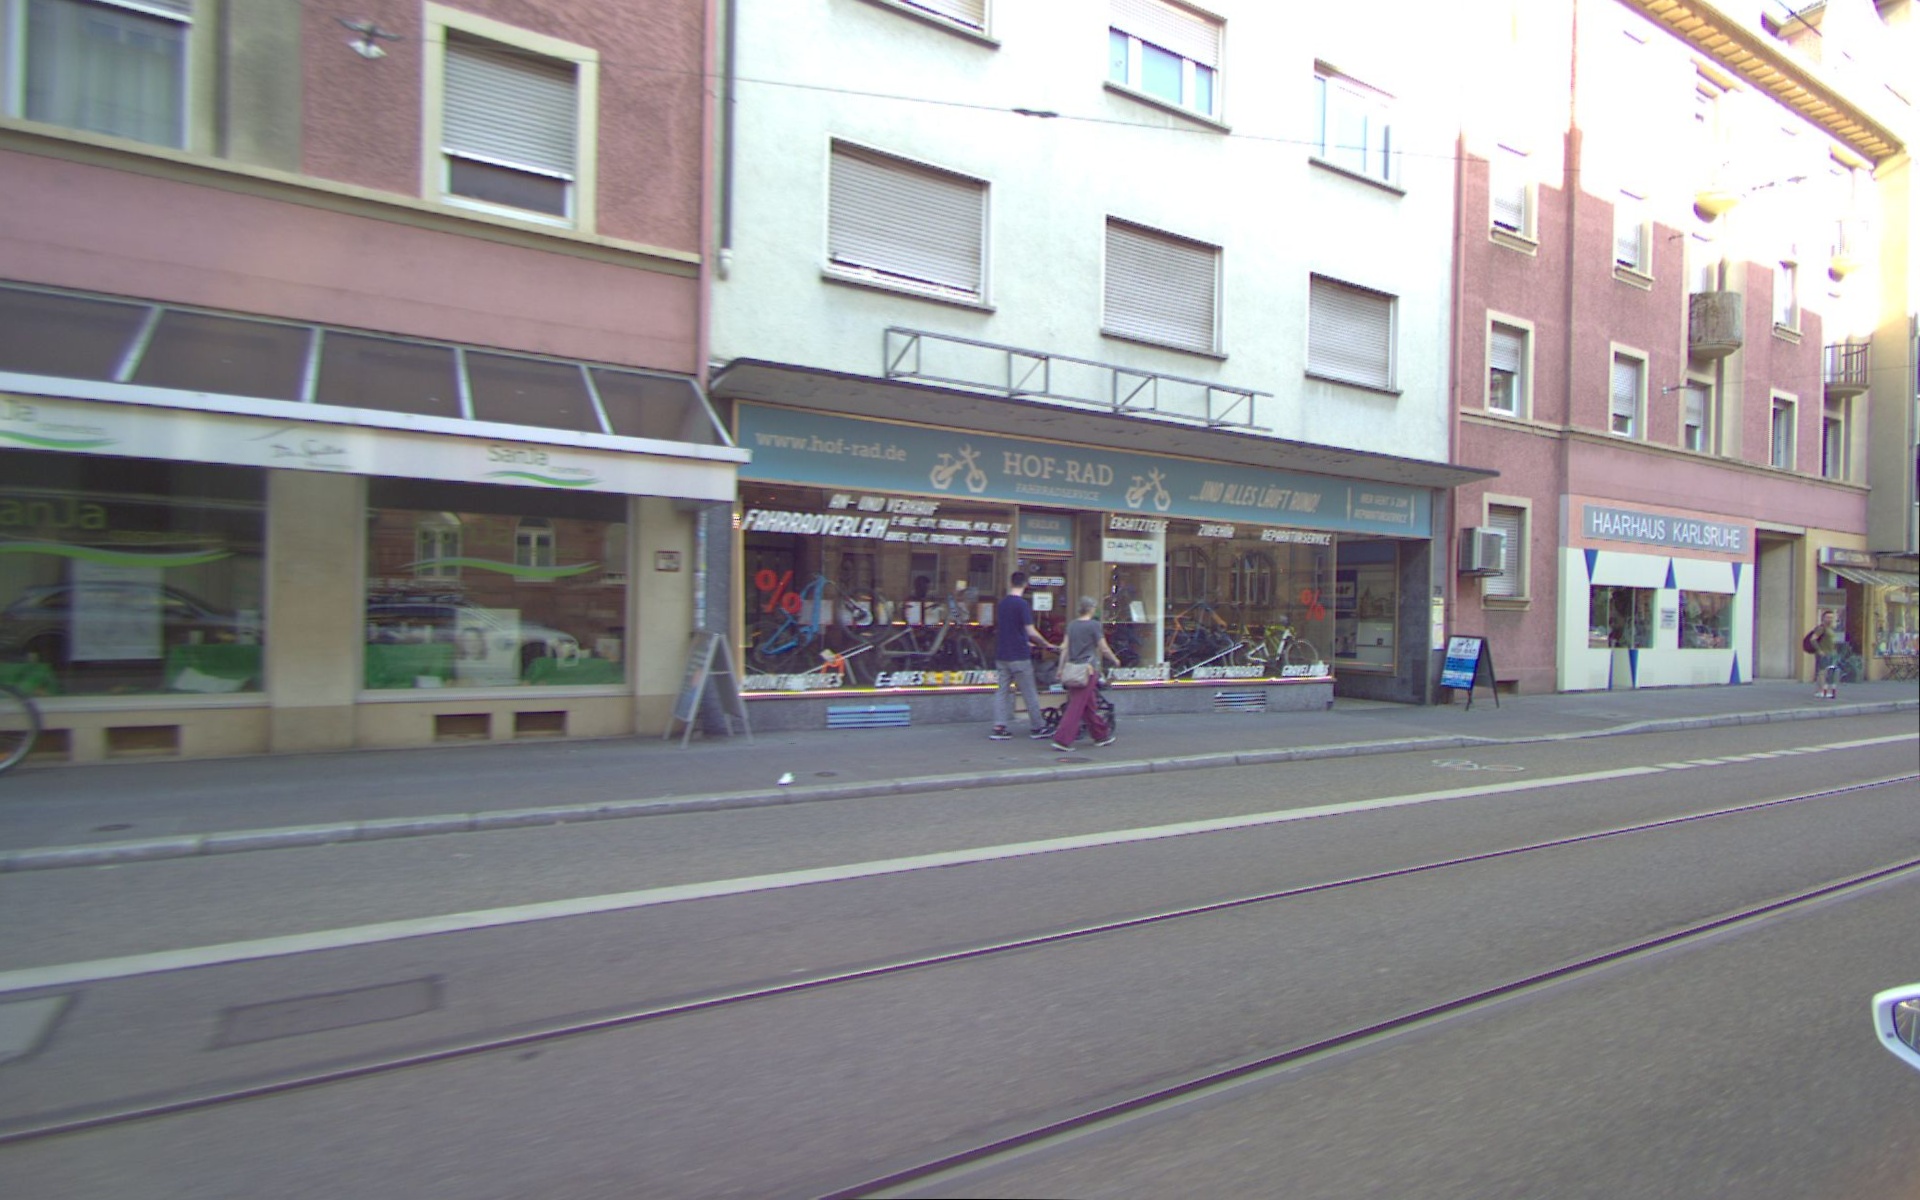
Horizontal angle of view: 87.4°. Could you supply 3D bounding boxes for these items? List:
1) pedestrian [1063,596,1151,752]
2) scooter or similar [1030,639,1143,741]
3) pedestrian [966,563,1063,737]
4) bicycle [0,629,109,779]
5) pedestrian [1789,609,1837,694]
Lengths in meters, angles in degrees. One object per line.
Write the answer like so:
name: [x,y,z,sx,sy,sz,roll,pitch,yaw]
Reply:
pedestrian: [1.539,0.759,10.575,0.616,1.569,0.632,2,0,-31]
scooter or similar: [1.438,0.996,11.443,1.092,1.075,0.658,1,1,-30]
pedestrian: [0.591,0.527,10.940,0.811,1.813,0.622,2,0,-31]
bicycle: [-7.623,0.743,7.161,2.303,1.074,0.422,2,0,-31]
pedestrian: [17.685,1.056,20.825,0.609,1.708,0.560,2,0,-32]
